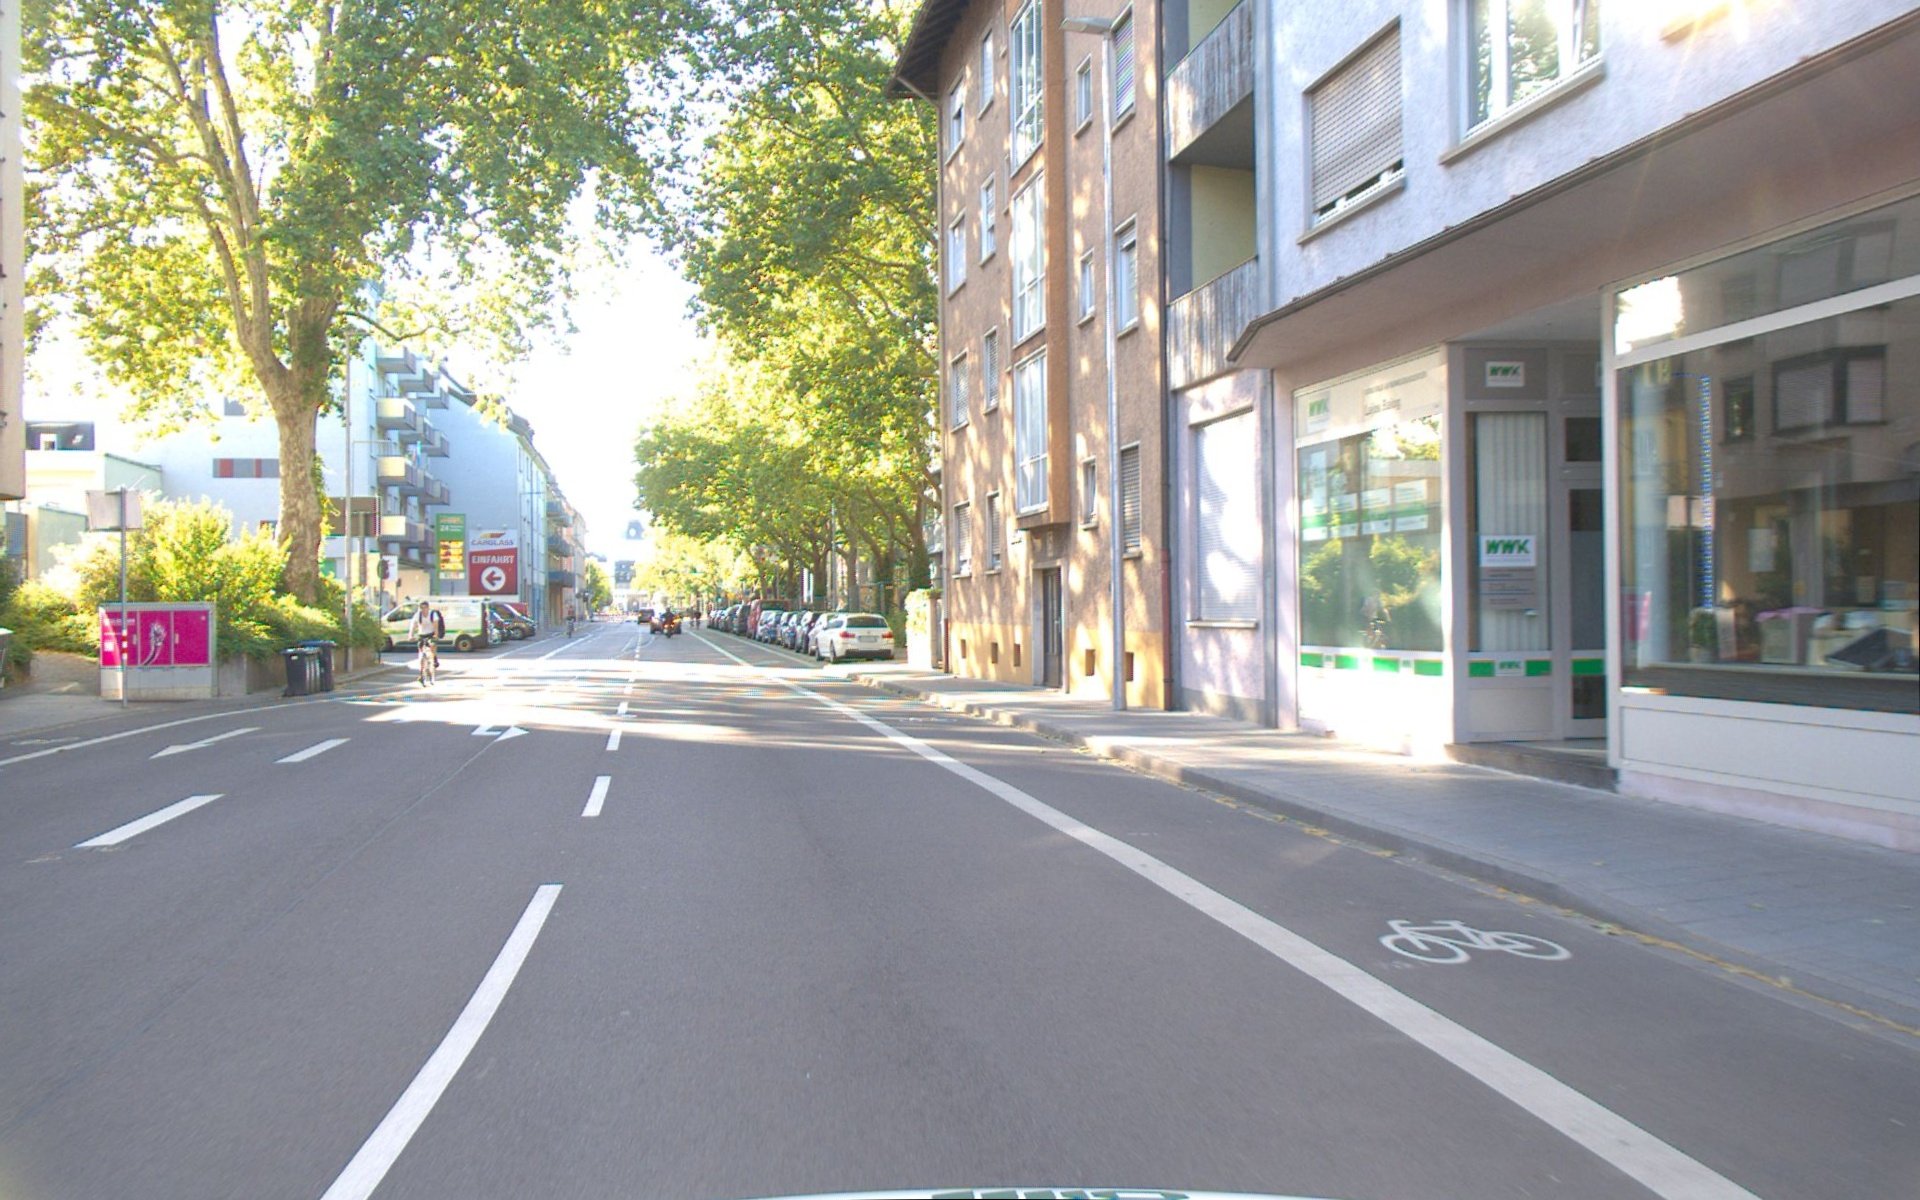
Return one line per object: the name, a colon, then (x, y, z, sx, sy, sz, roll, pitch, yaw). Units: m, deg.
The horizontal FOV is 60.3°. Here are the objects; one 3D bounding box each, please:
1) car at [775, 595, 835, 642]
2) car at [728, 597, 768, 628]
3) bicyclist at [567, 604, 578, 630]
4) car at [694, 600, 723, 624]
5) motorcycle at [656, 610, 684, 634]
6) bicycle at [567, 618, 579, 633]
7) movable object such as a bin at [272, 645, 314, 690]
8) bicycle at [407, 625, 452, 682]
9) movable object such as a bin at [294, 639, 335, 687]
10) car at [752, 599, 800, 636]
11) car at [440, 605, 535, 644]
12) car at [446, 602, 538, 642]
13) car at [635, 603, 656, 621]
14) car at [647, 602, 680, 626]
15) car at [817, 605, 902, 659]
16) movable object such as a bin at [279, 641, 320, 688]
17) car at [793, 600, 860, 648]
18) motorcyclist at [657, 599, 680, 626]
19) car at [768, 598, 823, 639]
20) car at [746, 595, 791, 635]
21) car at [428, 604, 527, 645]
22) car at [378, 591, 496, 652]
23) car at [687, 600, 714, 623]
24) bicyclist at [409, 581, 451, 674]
car: (-6.269, 0.738, 66.469, 1.997, 1.790, 4.082, -1, 0, -11)
car: (-12.411, 0.716, 96.670, 1.997, 1.772, 4.082, -1, 0, -11)
bicyclist: (-21.549, 0.942, 91.980, 0.532, 1.418, 0.506, -1, 0, -17)
car: (-19.479, 0.932, 127.874, 1.997, 1.772, 4.082, -1, 0, -11)
motorcycle: (-15.210, 1.136, 86.697, 0.959, 1.151, 2.788, 1, 0, -20)
bicycle: (-21.522, 1.412, 91.909, 0.532, 0.857, 1.597, -1, 0, -16)
movable object such as a bin: (-13.474, 1.355, 33.420, 0.673, 0.867, 0.578, 1, 0, -11)
bicycle: (-11.523, 1.139, 35.955, 0.802, 1.159, 2.329, -1, 0, -15)
movable object such as a bin: (-13.700, 1.340, 35.109, 0.690, 0.982, 0.595, 1, 0, -11)
car: (-9.079, 0.856, 81.250, 1.997, 1.749, 4.082, -1, 0, -11)
car: (-20.742, 1.049, 72.737, 3.919, 1.624, 1.993, -1, 0, -14)
car: (-21.254, 0.987, 75.287, 3.919, 1.773, 1.993, -1, 0, -14)
car: (-32.016, 1.178, 168.193, 1.997, 1.772, 4.082, -1, 0, -11)
car: (-18.088, 0.843, 100.867, 1.889, 1.413, 3.989, 0, 0, -11)
car: (-3.055, 0.921, 49.477, 1.997, 1.531, 4.082, -1, 0, -11)
movable object such as a bin: (-13.583, 1.322, 34.035, 0.673, 0.922, 0.578, 1, 0, -11)
car: (-4.944, 0.859, 60.733, 1.997, 1.645, 4.082, -1, 0, -11)
motorcyclist: (-15.273, 0.651, 86.735, 0.957, 1.370, 1.129, 1, 0, -24)
car: (-7.256, 0.790, 72.516, 1.997, 1.749, 4.082, -1, 0, -11)
car: (-9.923, 0.772, 85.400, 1.997, 1.968, 4.082, -1, 0, -11)
car: (-20.412, 1.031, 70.084, 3.919, 1.624, 1.993, -1, 0, -14)
car: (-20.341, 0.821, 64.467, 4.230, 2.265, 1.993, -1, 0, -14)
car: (-21.314, 0.935, 135.694, 1.997, 1.772, 4.082, -1, 0, -11)
bicyclist: (-11.550, 0.584, 36.048, 0.802, 1.982, 0.854, -1, 0, -16)
